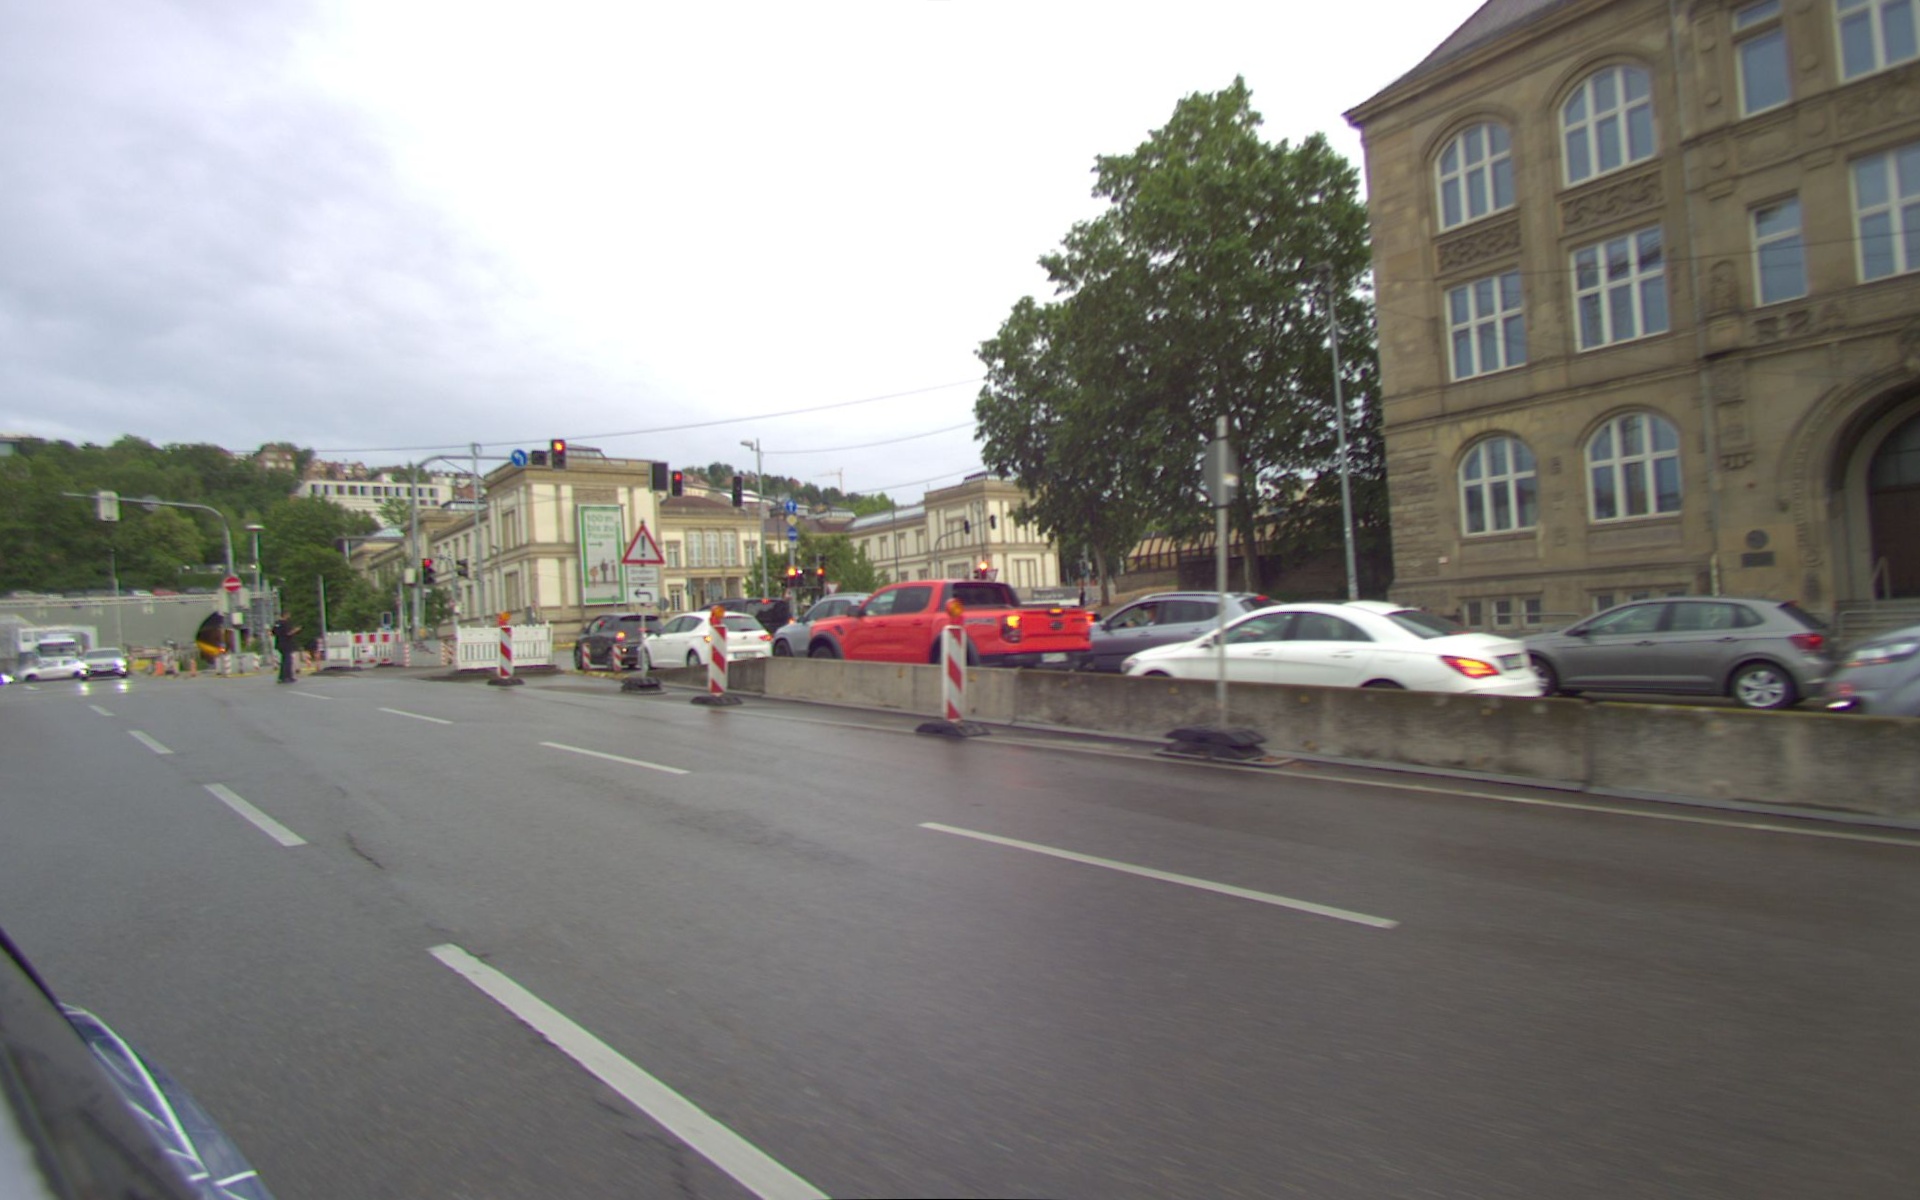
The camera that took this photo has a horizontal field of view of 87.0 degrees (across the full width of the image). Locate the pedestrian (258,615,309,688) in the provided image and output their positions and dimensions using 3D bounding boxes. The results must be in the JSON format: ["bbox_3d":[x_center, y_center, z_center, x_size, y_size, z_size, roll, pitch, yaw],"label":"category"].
[{"bbox_3d":[-16.354,1.223,24.466,0.758,1.723,0.777,-2,-1,27],"label":"pedestrian"}]

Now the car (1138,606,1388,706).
[{"bbox_3d":[5.569,0.984,18.896,4.000,1.664,1.972,-2,-2,43],"label":"car"}]

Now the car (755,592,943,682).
[{"bbox_3d":[-2.613,0.806,22.854,1.969,1.808,4.622,0,-1,-40],"label":"car"}]

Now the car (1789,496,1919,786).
[{"bbox_3d":[8.381,0.209,5.590,1.969,1.880,5.603,0,-1,-41],"label":"car"}]

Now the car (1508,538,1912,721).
[{"bbox_3d":[9.713,0.379,13.317,4.000,2.029,1.972,-2,-2,43],"label":"car"}]

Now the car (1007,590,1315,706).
[{"bbox_3d":[3.219,0.746,16.745,4.611,1.660,1.973,-2,-1,40],"label":"car"}]

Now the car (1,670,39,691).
[{"bbox_3d":[-77.925,6.677,83.937,1.968,1.482,4.355,0,-1,-38],"label":"car"}]

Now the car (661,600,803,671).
[{"bbox_3d":[-6.478,0.980,28.418,1.969,1.808,4.622,0,-1,-40],"label":"car"}]

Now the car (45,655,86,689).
[{"bbox_3d":[-59.890,4.798,67.748,1.970,2.054,4.004,0,-2,-43],"label":"car"}]

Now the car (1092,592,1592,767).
[{"bbox_3d":[3.961,0.748,11.246,1.969,1.513,4.828,0,-2,-42],"label":"car"}]

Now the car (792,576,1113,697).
[{"bbox_3d":[-0.334,0.547,15.931,1.969,1.579,5.388,0,-2,-42],"label":"car"}]

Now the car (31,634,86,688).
[{"bbox_3d":[-72.295,4.800,81.272,2.793,4.044,8.741,0,-1,-39],"label":"car"}]

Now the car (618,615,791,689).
[{"bbox_3d":[-5.845,1.117,22.791,1.969,1.482,4.568,0,-1,-40],"label":"car"}]

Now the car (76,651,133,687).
[{"bbox_3d":[-42.240,3.377,49.940,1.970,1.582,4.004,0,-2,-43],"label":"car"}]

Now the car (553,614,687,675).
[{"bbox_3d":[-9.240,1.173,27.280,1.969,1.482,4.353,0,-1,-40],"label":"car"}]
